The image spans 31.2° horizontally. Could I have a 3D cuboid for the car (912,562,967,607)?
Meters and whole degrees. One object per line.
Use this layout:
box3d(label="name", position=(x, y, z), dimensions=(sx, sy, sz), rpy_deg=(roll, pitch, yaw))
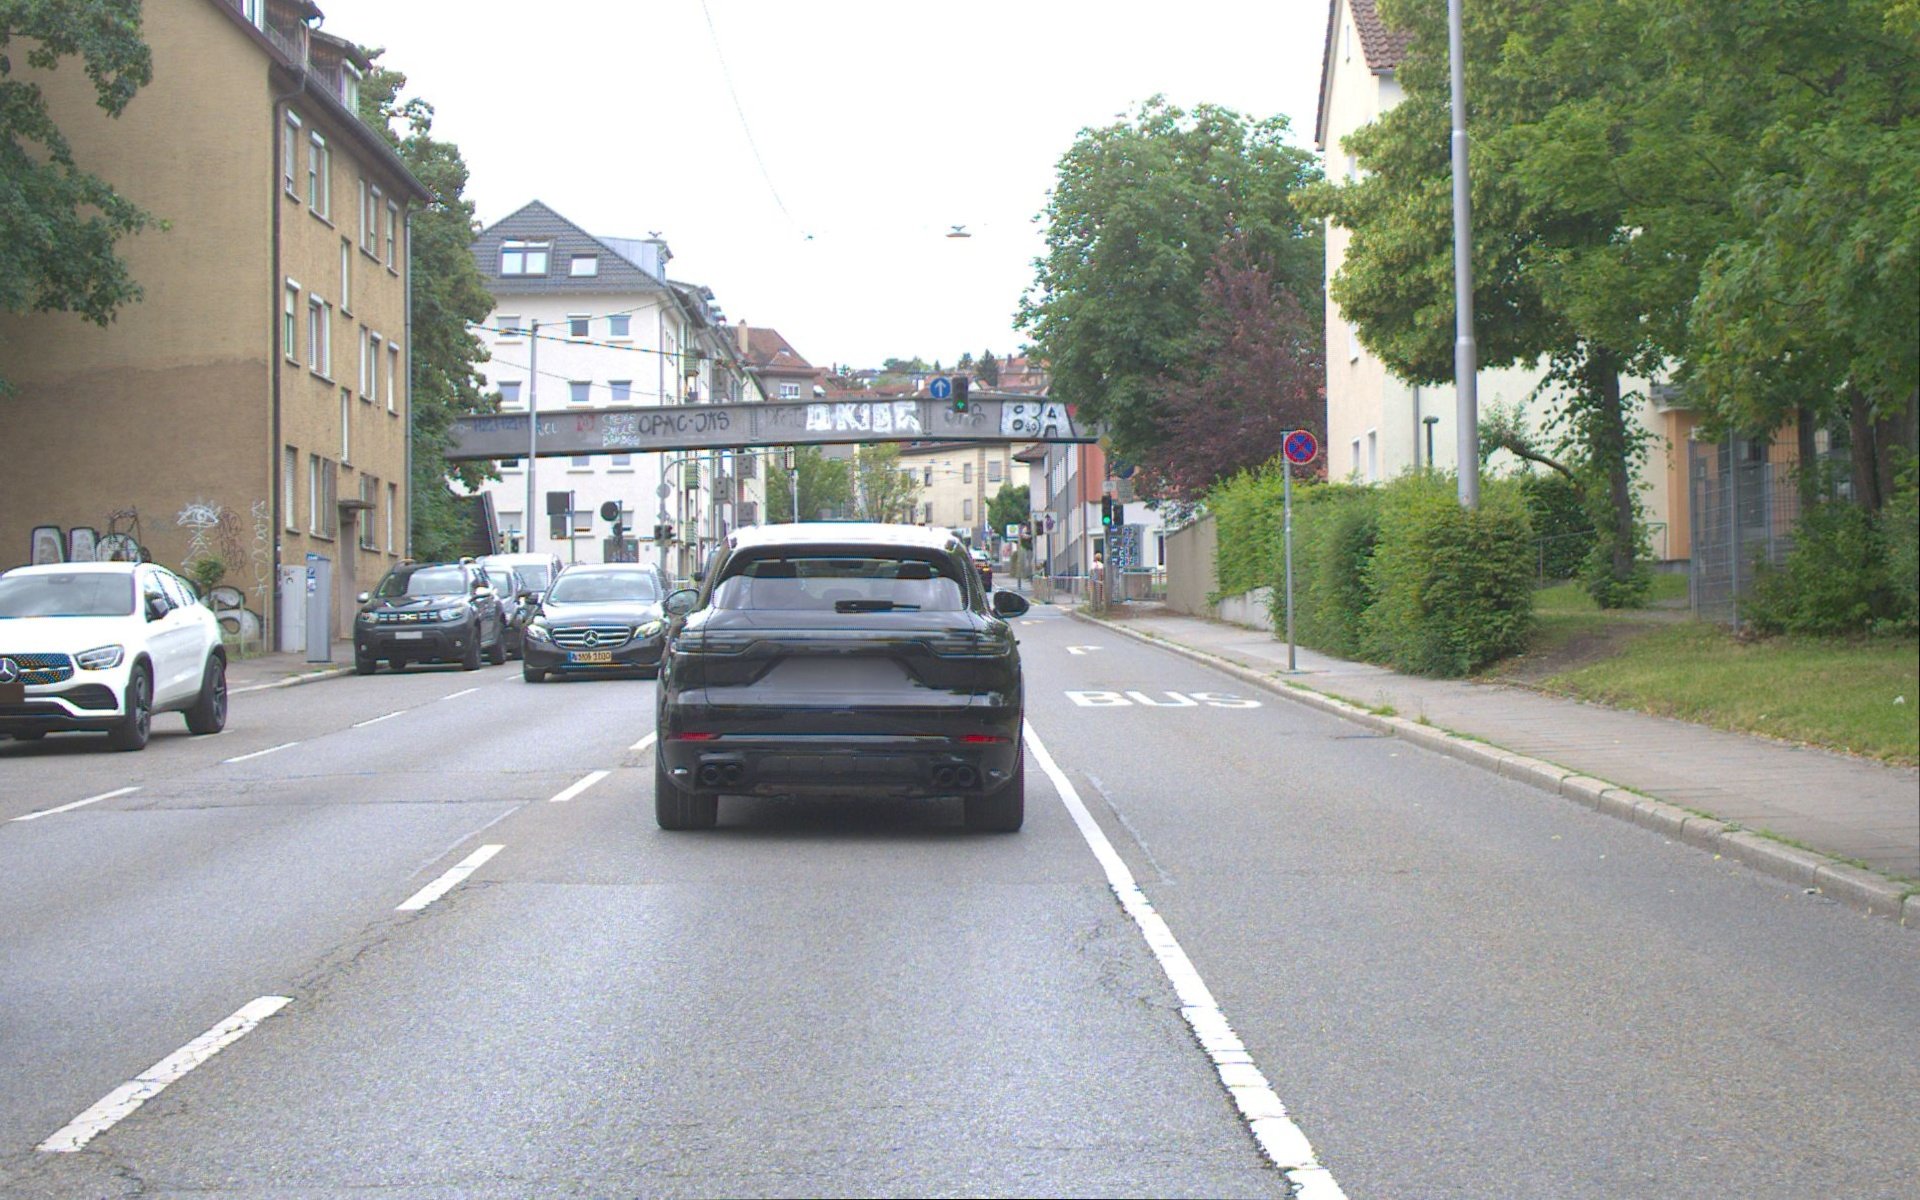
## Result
box3d(label="car", position=(-0.655, -0.515, 111.274), dimensions=(1.741, 1.395, 4.000), rpy_deg=(0, 1, 0))

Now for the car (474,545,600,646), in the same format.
box3d(label="car", position=(-7.797, -0.113, 63.709), dimensions=(1.776, 1.748, 4.558), rpy_deg=(-2, 1, -1))

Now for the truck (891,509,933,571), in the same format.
box3d(label="truck", position=(-2.746, -3.355, 195.340), dimensions=(2.266, 3.413, 9.879), rpy_deg=(-1, 1, -1))

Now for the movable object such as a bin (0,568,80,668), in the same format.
box3d(label="movable object such as a bin", position=(-13.436, 0.252, 49.524), dimensions=(1.281, 1.423, 1.279), rpy_deg=(0, 1, -5))

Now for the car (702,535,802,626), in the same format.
box3d(label="car", position=(-4.535, -0.451, 75.500), dimensions=(1.931, 1.894, 4.590), rpy_deg=(-1, 1, -1))

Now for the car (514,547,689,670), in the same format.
box3d(label="car", position=(-4.592, 0.073, 44.551), dimensions=(1.778, 1.461, 4.499), rpy_deg=(-1, 1, 0))

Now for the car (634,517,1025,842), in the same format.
box3d(label="car", position=(-0.672, 0.360, 19.539), dimensions=(1.993, 1.656, 4.000), rpy_deg=(0, 1, 0))

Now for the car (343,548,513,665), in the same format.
box3d(label="car", position=(-7.988, 0.063, 51.971), dimensions=(1.783, 1.603, 4.264), rpy_deg=(-3, 1, 1))

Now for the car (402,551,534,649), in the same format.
box3d(label="car", position=(-8.215, -0.023, 57.694), dimensions=(1.751, 1.525, 4.100), rpy_deg=(-2, 1, -2))

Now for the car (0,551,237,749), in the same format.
box3d(label="car", position=(-7.789, 0.380, 30.040), dimensions=(1.915, 1.572, 4.700), rpy_deg=(-1, 1, 0))
